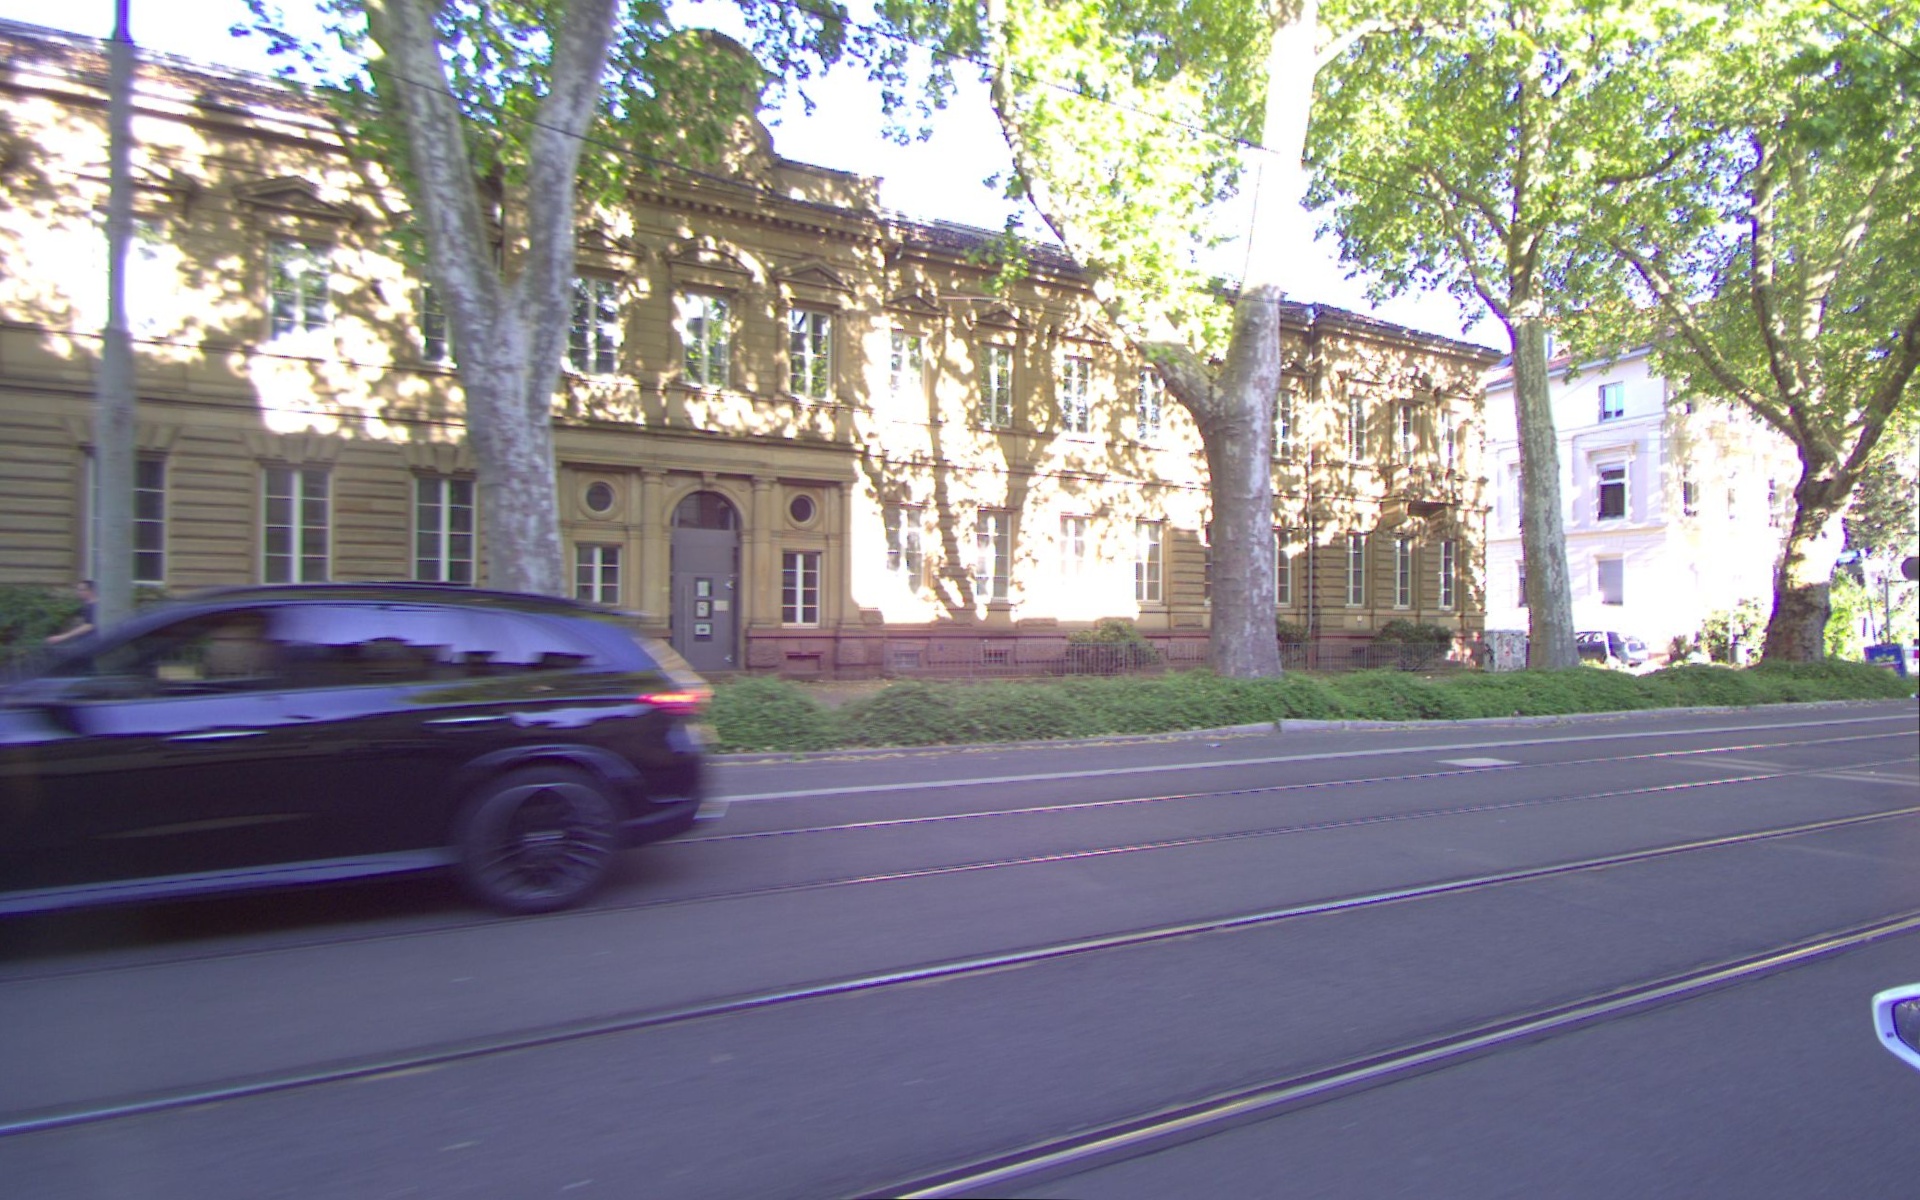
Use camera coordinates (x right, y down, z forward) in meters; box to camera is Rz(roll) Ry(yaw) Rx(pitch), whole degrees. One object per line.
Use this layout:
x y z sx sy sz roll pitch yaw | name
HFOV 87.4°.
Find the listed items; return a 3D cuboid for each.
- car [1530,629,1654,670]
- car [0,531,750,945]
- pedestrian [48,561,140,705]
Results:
24.654 1.901 39.282 1.672 1.437 3.763 -2 -1 -27 | car
-3.547 0.581 5.221 4.501 1.651 1.860 1 -1 -27 | car
-11.658 0.440 13.547 0.829 1.874 0.714 1 -1 -35 | pedestrian
